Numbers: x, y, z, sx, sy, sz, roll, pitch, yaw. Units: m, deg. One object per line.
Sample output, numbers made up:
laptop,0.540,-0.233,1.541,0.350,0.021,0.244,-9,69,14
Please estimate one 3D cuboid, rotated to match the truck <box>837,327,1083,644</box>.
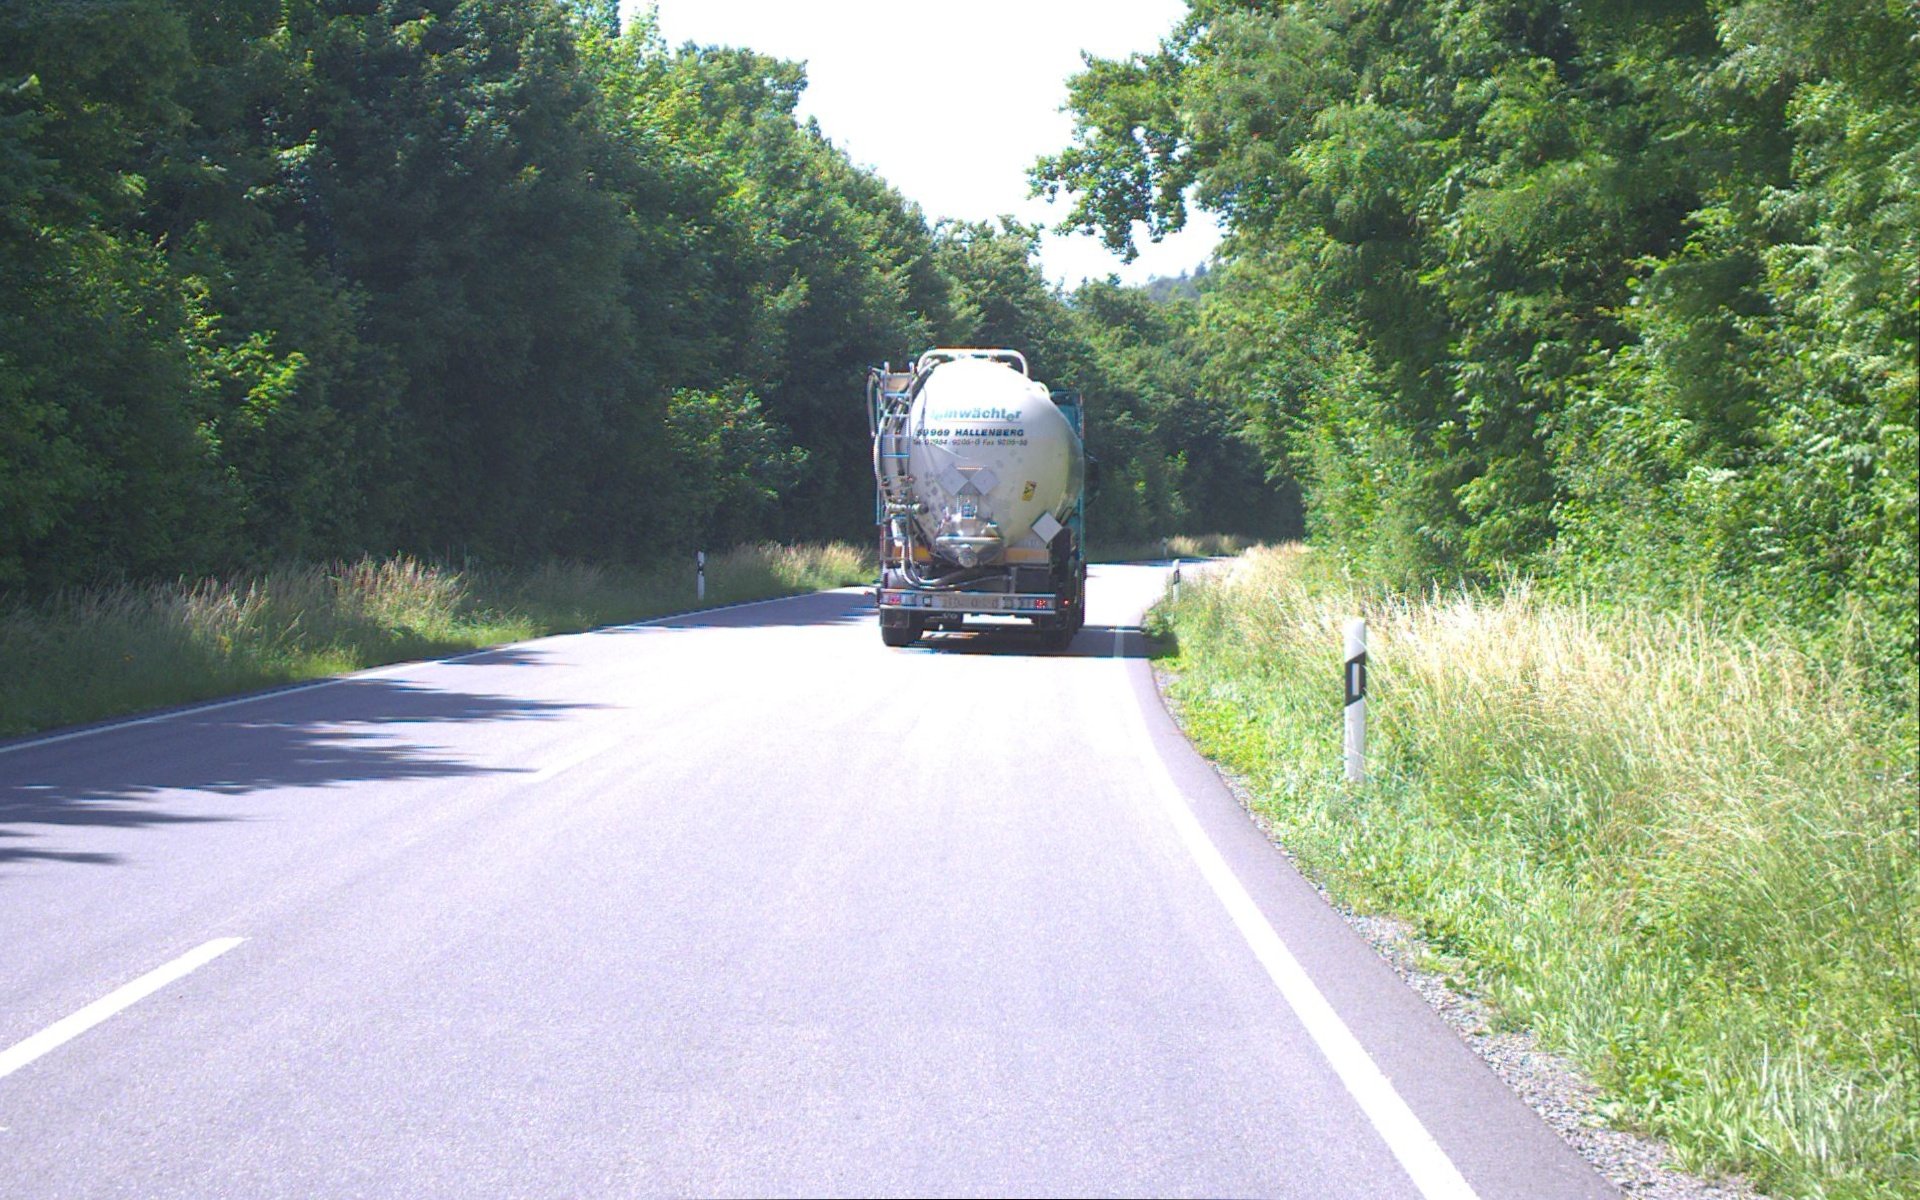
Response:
truck,0.279,-1.623,51.158,3.049,3.984,15.636,0,1,2
